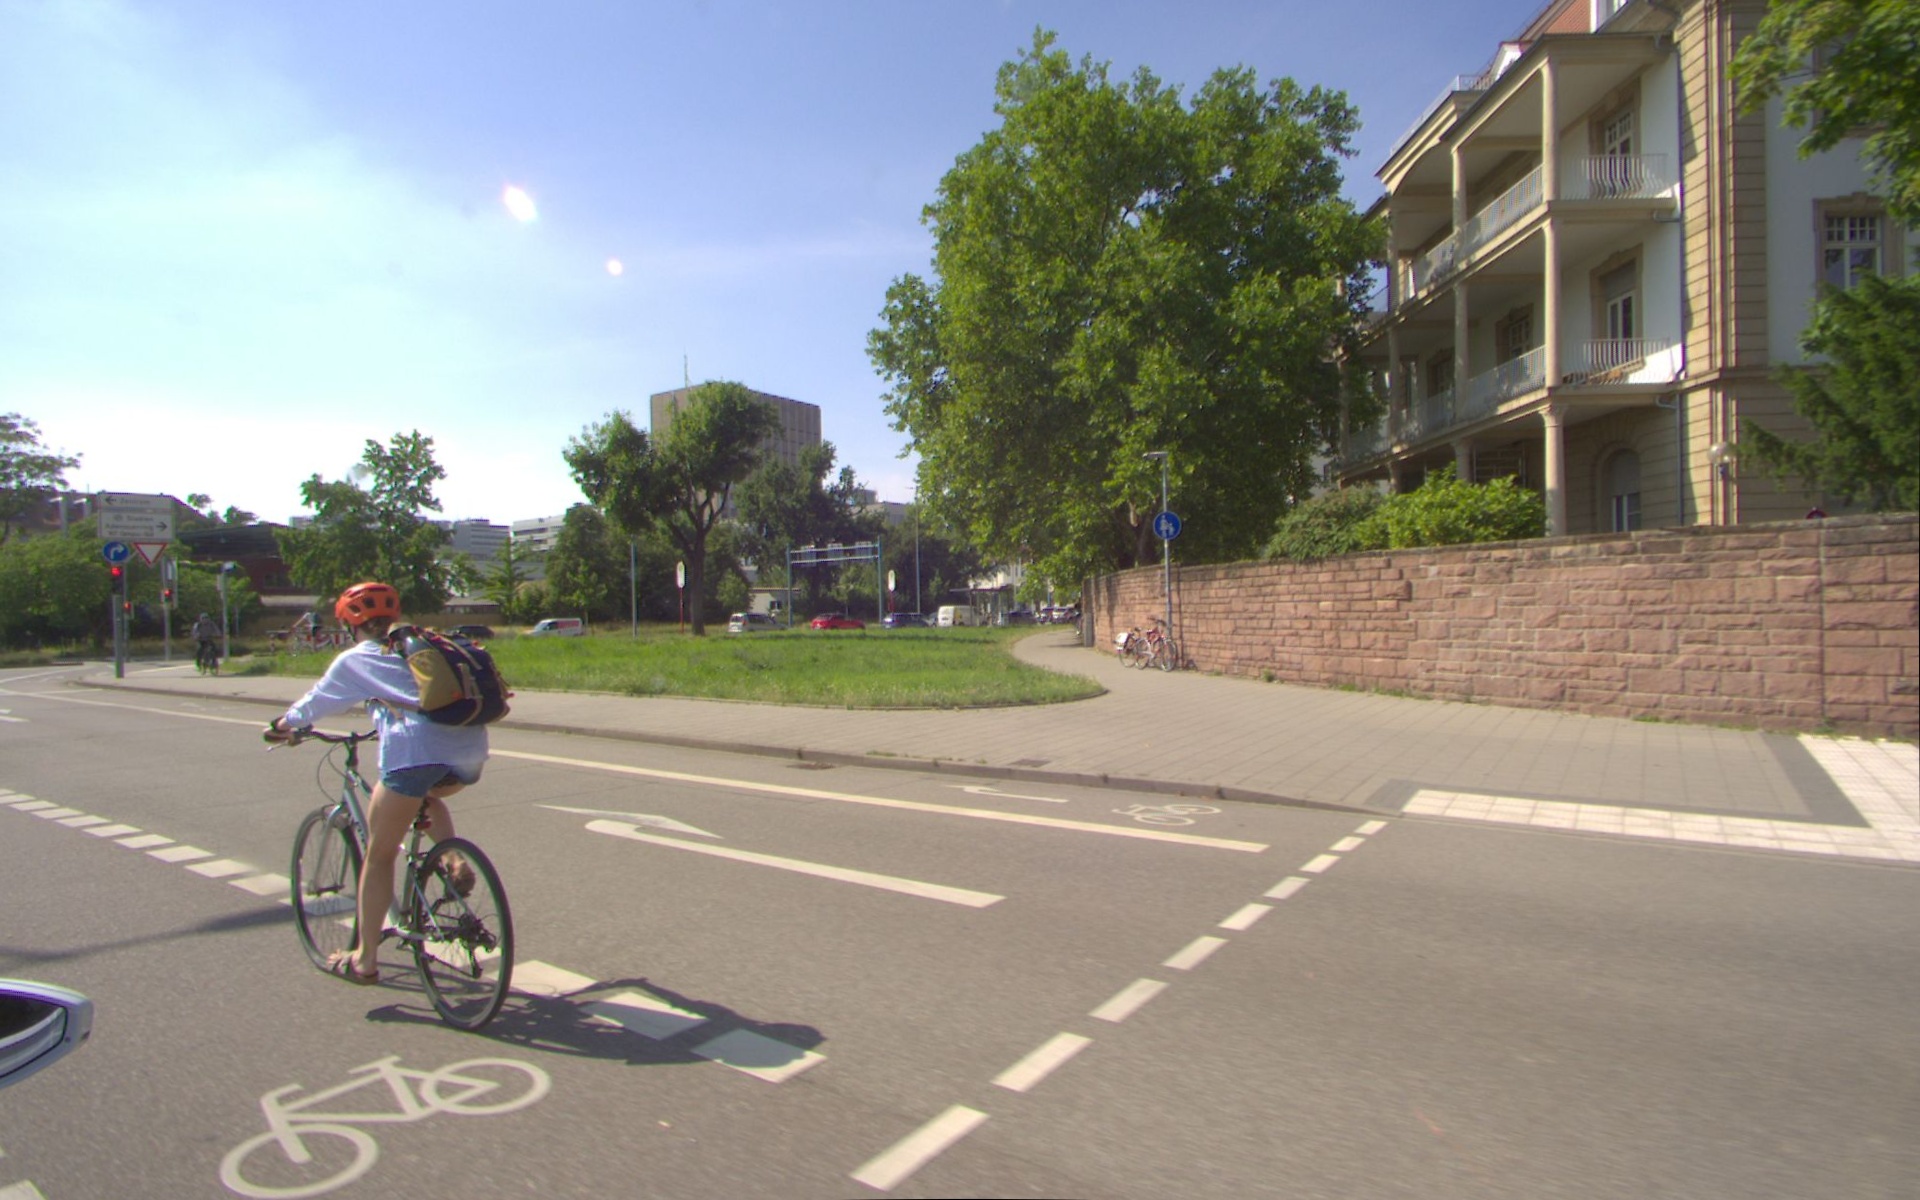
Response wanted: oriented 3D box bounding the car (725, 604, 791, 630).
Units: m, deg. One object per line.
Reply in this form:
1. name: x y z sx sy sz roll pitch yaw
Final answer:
1. car: -12.777 1.062 63.462 1.729 1.528 3.974 -1 0 35

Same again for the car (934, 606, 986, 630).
1. car: 0.024 1.399 79.644 1.731 1.781 4.399 -1 0 39

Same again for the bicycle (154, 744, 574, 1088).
1. bicycle: -2.450 1.133 4.018 1.999 0.943 0.595 -2 -1 32

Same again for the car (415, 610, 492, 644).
1. car: -32.850 1.739 64.974 1.975 2.040 3.972 -1 0 37

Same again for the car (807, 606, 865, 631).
1. car: -8.464 1.283 68.444 1.729 1.526 3.978 -1 -3 35

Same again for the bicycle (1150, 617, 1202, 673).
1. bicycle: 4.581 0.942 21.312 0.343 1.137 1.431 -1 0 -20

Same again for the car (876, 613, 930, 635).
1. car: -4.205 1.794 74.370 1.731 1.493 3.970 -1 0 39

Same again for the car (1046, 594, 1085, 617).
1. car: 9.740 0.477 92.490 1.973 2.040 3.976 -1 0 34

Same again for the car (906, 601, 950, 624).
1. car: -3.073 1.162 96.747 1.978 2.039 3.968 -4 -2 40

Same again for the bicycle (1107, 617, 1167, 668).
1. bicycle: 4.016 0.952 22.804 0.345 1.137 1.423 -2 1 -41

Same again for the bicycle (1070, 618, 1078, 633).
1. bicycle: 5.837 1.302 51.234 0.334 0.738 1.364 -1 0 8

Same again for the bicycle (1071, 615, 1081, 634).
1. bicycle: 5.453 1.158 47.093 0.365 0.867 1.306 -1 0 10

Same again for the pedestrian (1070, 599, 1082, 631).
1. pedestrian: 6.387 0.826 55.231 0.608 1.763 0.599 -1 1 6

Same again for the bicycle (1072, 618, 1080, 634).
1. bicycle: 5.650 1.246 48.766 0.334 0.738 1.364 -1 0 8

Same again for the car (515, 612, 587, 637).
1. car: -28.494 1.680 69.899 1.884 1.590 4.297 -1 0 35

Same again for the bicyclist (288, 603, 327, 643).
1. bicyclist: -24.696 0.883 37.886 1.121 1.489 0.496 0 -2 -8

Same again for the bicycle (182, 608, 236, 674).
1. bicycle: -21.240 1.145 28.323 1.787 1.789 0.676 -1 1 36

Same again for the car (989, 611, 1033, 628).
1. car: 4.382 1.645 85.280 1.731 1.357 3.970 -1 0 39

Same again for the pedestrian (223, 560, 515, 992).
1. pedestrian: -2.336 0.622 3.954 0.999 1.485 0.582 -1 -1 31

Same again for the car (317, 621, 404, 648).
1. car: -36.004 2.064 60.211 1.974 1.483 3.975 -3 -1 35

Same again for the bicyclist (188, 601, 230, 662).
1. bicyclist: -21.251 0.879 28.328 0.906 1.677 0.676 -1 1 35

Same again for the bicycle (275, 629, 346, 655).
1. bicycle: -24.595 1.582 37.955 2.127 0.928 0.674 -1 1 -8
